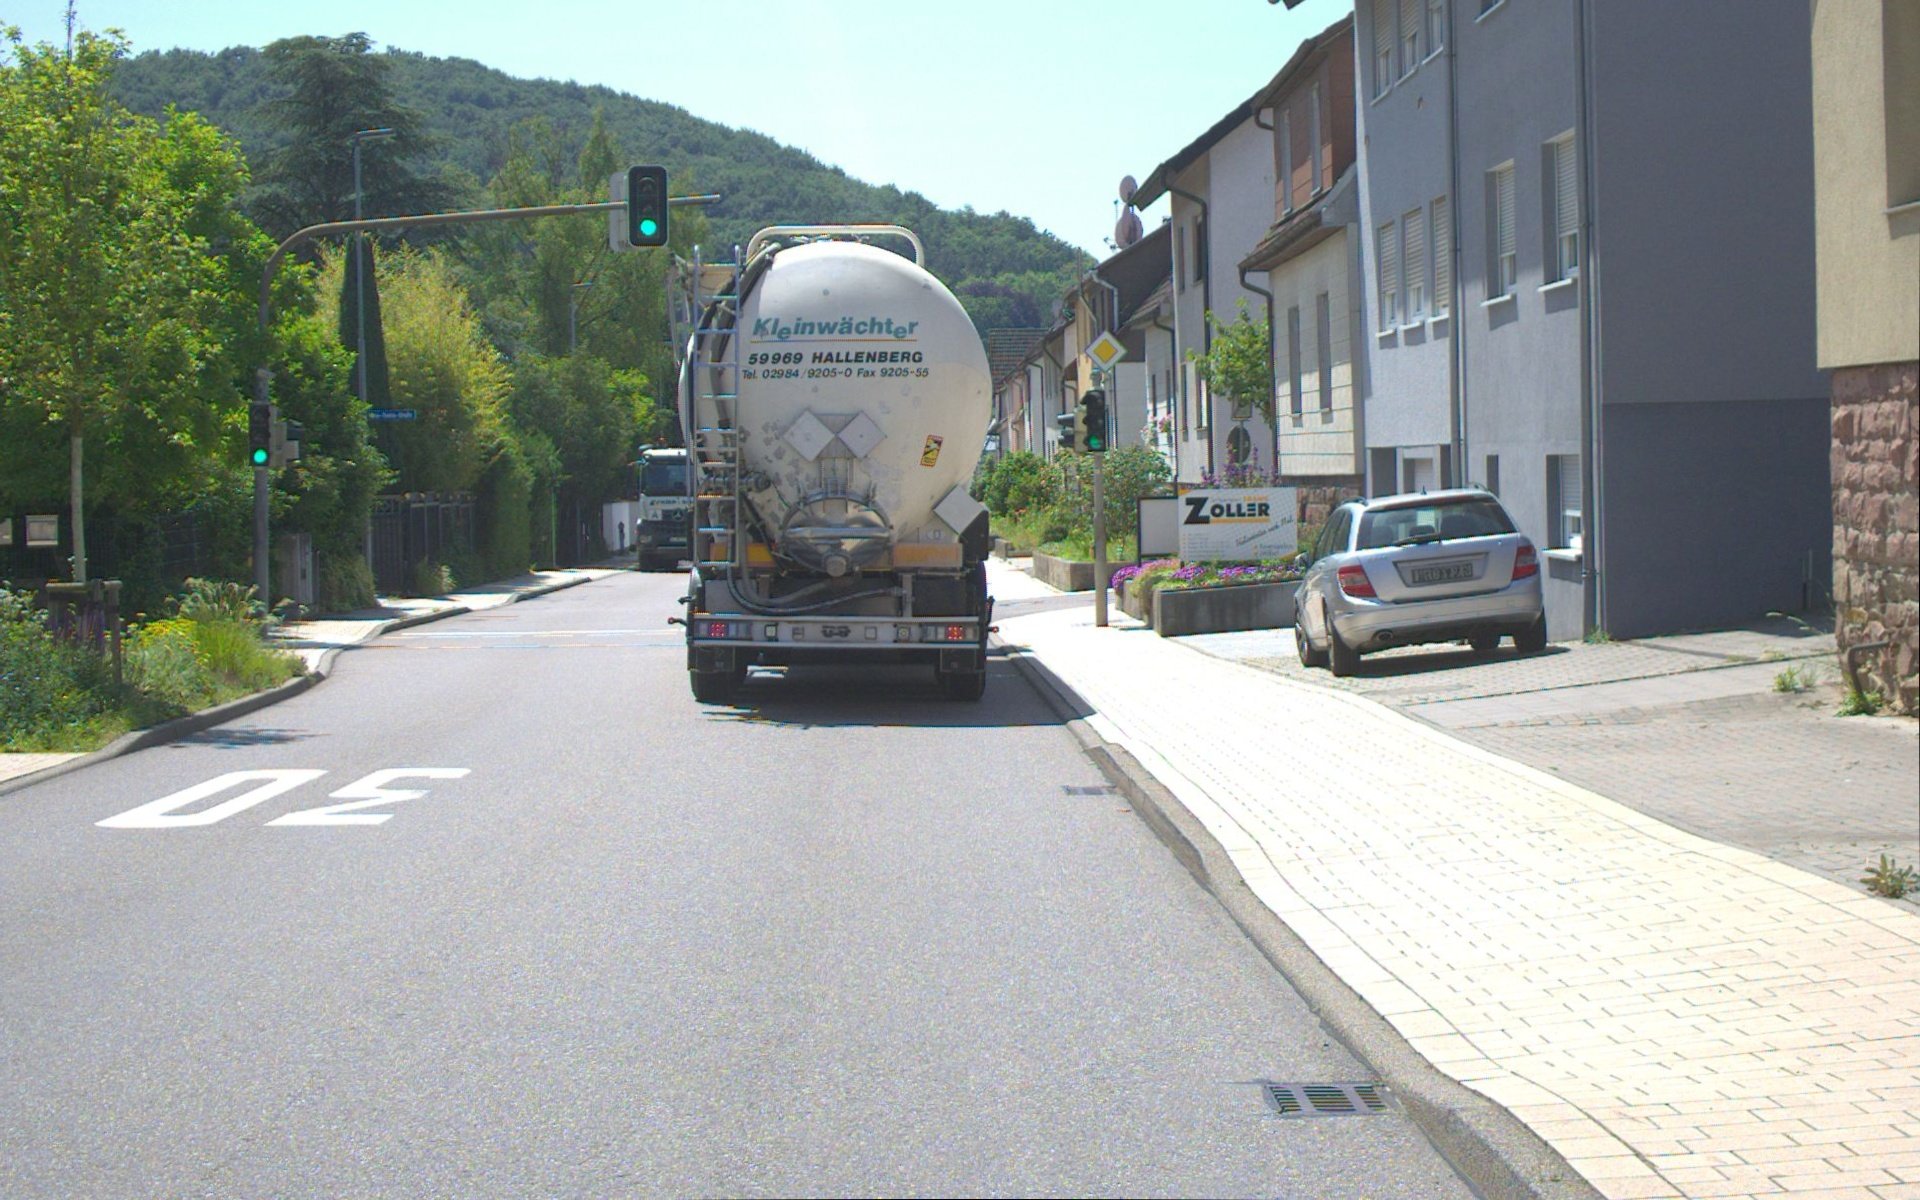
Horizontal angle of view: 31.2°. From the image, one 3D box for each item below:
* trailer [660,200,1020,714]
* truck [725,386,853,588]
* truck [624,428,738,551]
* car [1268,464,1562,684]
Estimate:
[{"bbox_3d":[-1.172,-1.227,31.875,2.796,3.987,10.325,0,1,-3],"label":"trailer"},{"bbox_3d":[-4.151,-2.751,85.529,2.846,4.662,11.341,-1,1,-1],"label":"truck"},{"bbox_3d":[-7.909,-3.128,98.457,2.728,3.360,8.635,0,1,-1],"label":"truck"},{"bbox_3d":[3.783,-0.249,29.301,1.791,1.536,4.520,-6,1,1],"label":"car"}]
